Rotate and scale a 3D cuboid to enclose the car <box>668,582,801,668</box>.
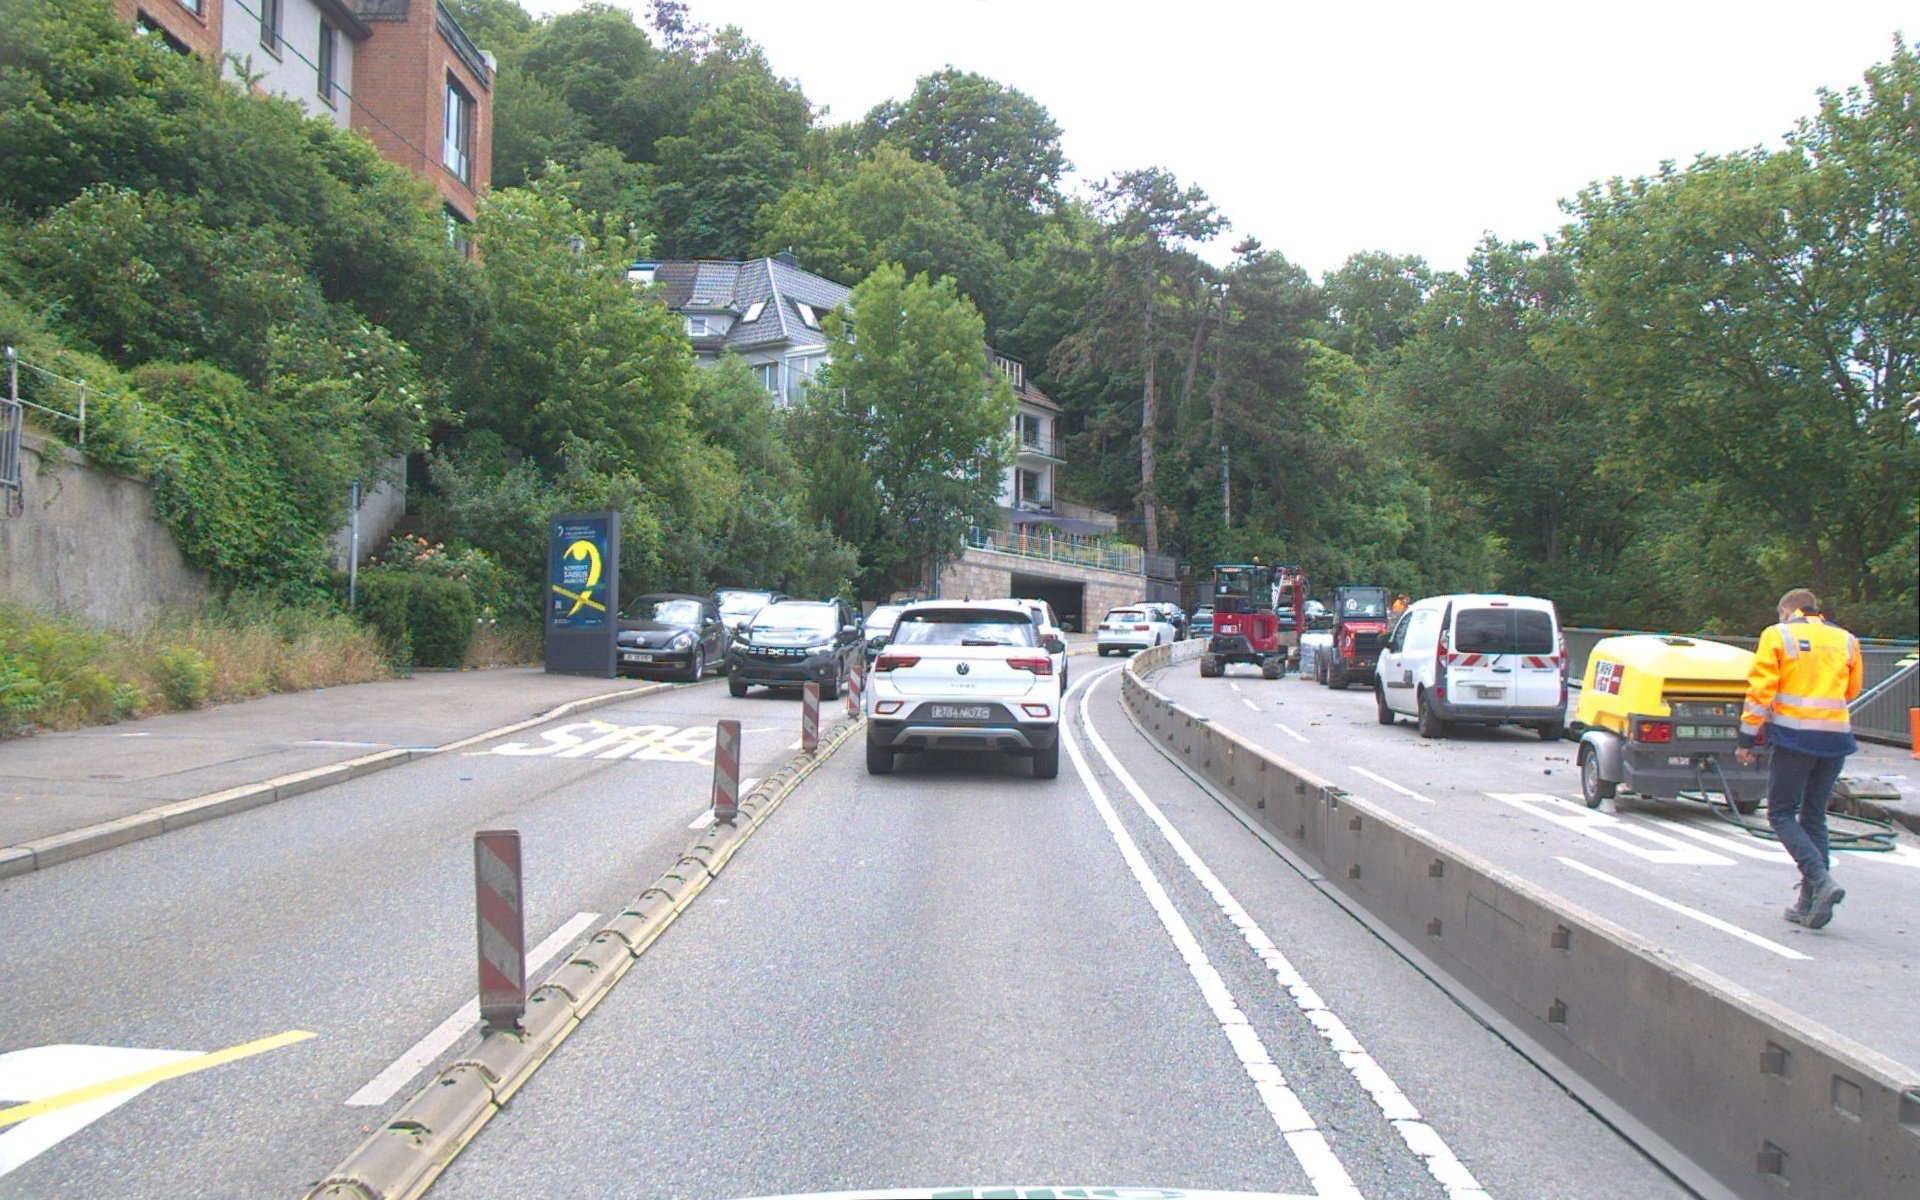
[{"bbox_3d":[-4.740,0.513,35.300,1.651,1.634,4.190,3,0,8],"label":"car"}]

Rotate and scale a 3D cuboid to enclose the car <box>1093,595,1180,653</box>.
[{"bbox_3d":[5.467,0.721,50.918,1.772,1.692,4.001,-1,0,19],"label":"car"}]

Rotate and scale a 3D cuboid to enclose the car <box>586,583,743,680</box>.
[{"bbox_3d":[-5.248,0.544,29.893,1.757,1.536,4.002,3,0,5],"label":"car"}]

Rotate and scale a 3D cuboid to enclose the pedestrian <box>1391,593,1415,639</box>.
[{"bbox_3d":[17.943,0.649,67.039,0.858,1.854,0.878,0,0,21],"label":"pedestrian"}]

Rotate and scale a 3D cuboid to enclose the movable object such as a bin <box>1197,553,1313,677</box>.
[{"bbox_3d":[7.037,0.318,39.045,2.165,2.709,4.948,1,0,16],"label":"movable object such as a bin"}]

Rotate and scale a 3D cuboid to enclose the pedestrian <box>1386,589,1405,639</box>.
[{"bbox_3d":[17.132,0.538,65.086,0.675,1.940,0.826,0,0,9],"label":"pedestrian"}]

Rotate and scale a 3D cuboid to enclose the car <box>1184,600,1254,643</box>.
[{"bbox_3d":[9.693,0.766,61.683,1.757,1.537,4.000,-1,0,21],"label":"car"}]

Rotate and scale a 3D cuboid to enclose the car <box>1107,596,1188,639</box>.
[{"bbox_3d":[7.373,0.684,64.724,1.734,1.595,4.223,1,0,28],"label":"car"}]

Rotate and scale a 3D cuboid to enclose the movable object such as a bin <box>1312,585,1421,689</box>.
[{"bbox_3d":[8.271,0.714,33.927,1.665,1.977,4.168,1,0,7],"label":"movable object such as a bin"}]

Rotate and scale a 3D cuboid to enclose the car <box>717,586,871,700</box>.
[{"bbox_3d":[-2.604,0.655,26.815,1.777,1.650,3.821,2,0,5],"label":"car"}]

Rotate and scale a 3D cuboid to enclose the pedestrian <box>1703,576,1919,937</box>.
[{"bbox_3d":[4.328,0.759,8.444,0.632,1.731,0.850,2,0,-1],"label":"pedestrian"}]

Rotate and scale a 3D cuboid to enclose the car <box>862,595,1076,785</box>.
[{"bbox_3d":[0.043,0.759,16.081,1.773,1.558,3.999,2,0,-1],"label":"car"}]

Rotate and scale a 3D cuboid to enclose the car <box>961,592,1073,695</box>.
[{"bbox_3d":[1.079,0.732,29.388,1.771,1.692,4.002,-1,0,5],"label":"car"}]

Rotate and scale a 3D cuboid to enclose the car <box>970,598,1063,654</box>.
[{"bbox_3d":[1.790,0.764,50.935,1.758,1.471,4.365,2,2,17],"label":"car"}]

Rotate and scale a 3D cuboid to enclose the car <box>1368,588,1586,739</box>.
[{"bbox_3d":[6.778,0.766,22.150,1.794,1.811,4.270,1,0,3],"label":"car"}]

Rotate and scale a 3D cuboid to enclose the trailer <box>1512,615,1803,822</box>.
[{"bbox_3d":[5.865,0.909,14.295,1.261,1.501,3.636,1,0,5],"label":"trailer"}]

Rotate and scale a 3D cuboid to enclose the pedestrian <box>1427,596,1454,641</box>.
[{"bbox_3d":[18.630,0.715,64.158,0.770,1.717,0.782,0,0,37],"label":"pedestrian"}]

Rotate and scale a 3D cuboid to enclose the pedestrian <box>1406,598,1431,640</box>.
[{"bbox_3d":[17.952,0.755,64.807,0.769,1.636,0.664,0,0,37],"label":"pedestrian"}]

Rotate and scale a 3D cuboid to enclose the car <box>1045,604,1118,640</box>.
[{"bbox_3d":[5.490,1.011,74.385,1.750,1.478,3.693,1,-2,32],"label":"car"}]

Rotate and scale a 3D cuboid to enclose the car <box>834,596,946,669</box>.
[{"bbox_3d":[-1.521,0.725,37.660,1.757,1.508,4.332,2,-1,8],"label":"car"}]

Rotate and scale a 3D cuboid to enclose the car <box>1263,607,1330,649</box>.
[{"bbox_3d":[14.416,1.172,70.718,1.775,1.692,3.994,-1,0,28],"label":"car"}]

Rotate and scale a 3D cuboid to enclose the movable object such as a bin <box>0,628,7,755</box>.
[{"bbox_3d":[-7.390,0.679,12.079,0.458,0.950,0.624,2,0,-1],"label":"movable object such as a bin"}]

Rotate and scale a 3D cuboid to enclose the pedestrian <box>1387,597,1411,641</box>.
[{"bbox_3d":[17.549,0.756,66.114,0.858,1.761,0.878,0,0,21],"label":"pedestrian"}]
